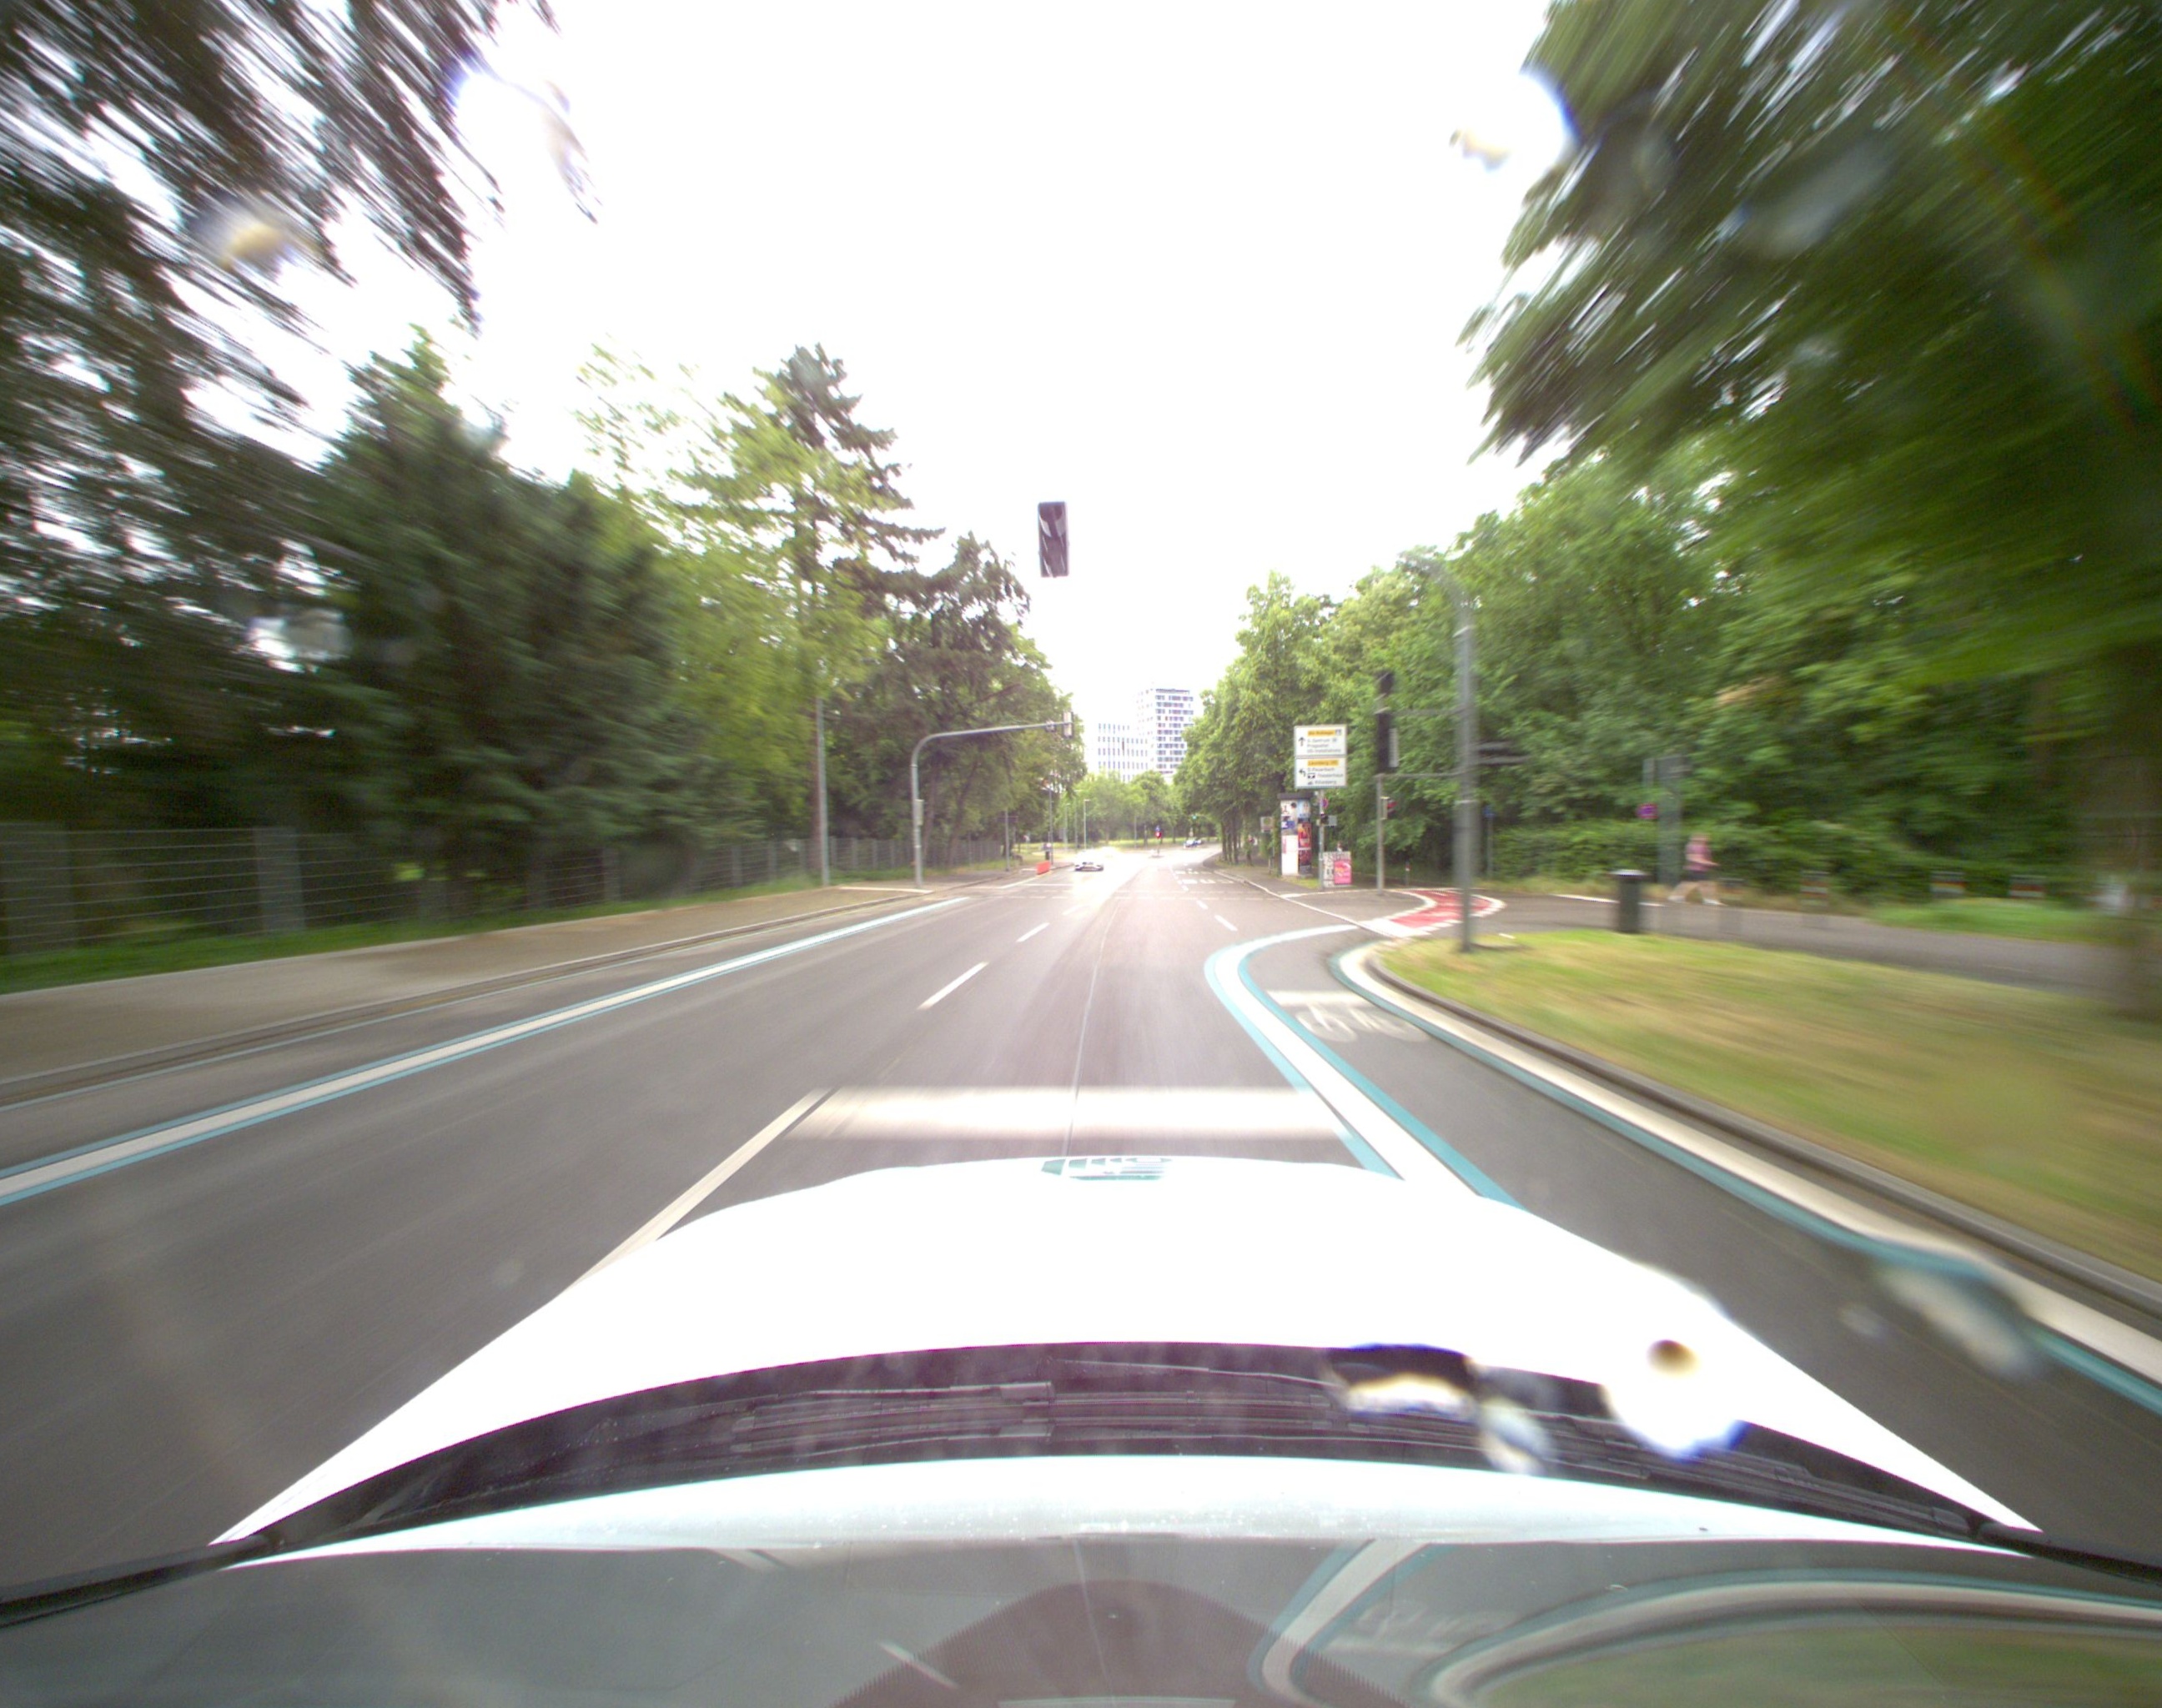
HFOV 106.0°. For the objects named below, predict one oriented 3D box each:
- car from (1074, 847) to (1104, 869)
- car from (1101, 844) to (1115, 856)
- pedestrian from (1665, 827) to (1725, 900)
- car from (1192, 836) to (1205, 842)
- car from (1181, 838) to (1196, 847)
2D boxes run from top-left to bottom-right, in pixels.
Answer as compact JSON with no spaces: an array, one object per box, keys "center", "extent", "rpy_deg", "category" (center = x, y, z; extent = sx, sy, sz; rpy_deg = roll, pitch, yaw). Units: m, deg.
[{"center":[0.619,0.233,59.485],"extent":[1.834,1.457,4.507],"rpy_deg":[0,1,5],"category":"car"},{"center":[3.778,-0.580,112.953],"extent":[1.594,1.441,4.007],"rpy_deg":[1,2,5],"category":"car"},{"center":[15.172,0.215,20.117],"extent":[1.131,1.733,0.895],"rpy_deg":[2,1,38],"category":"pedestrian"},{"center":[25.205,-3.224,174.390],"extent":[1.793,1.286,3.761],"rpy_deg":[0,0,23],"category":"car"},{"center":[21.034,-2.213,159.288],"extent":[1.976,1.685,4.021],"rpy_deg":[0,0,21],"category":"car"}]
